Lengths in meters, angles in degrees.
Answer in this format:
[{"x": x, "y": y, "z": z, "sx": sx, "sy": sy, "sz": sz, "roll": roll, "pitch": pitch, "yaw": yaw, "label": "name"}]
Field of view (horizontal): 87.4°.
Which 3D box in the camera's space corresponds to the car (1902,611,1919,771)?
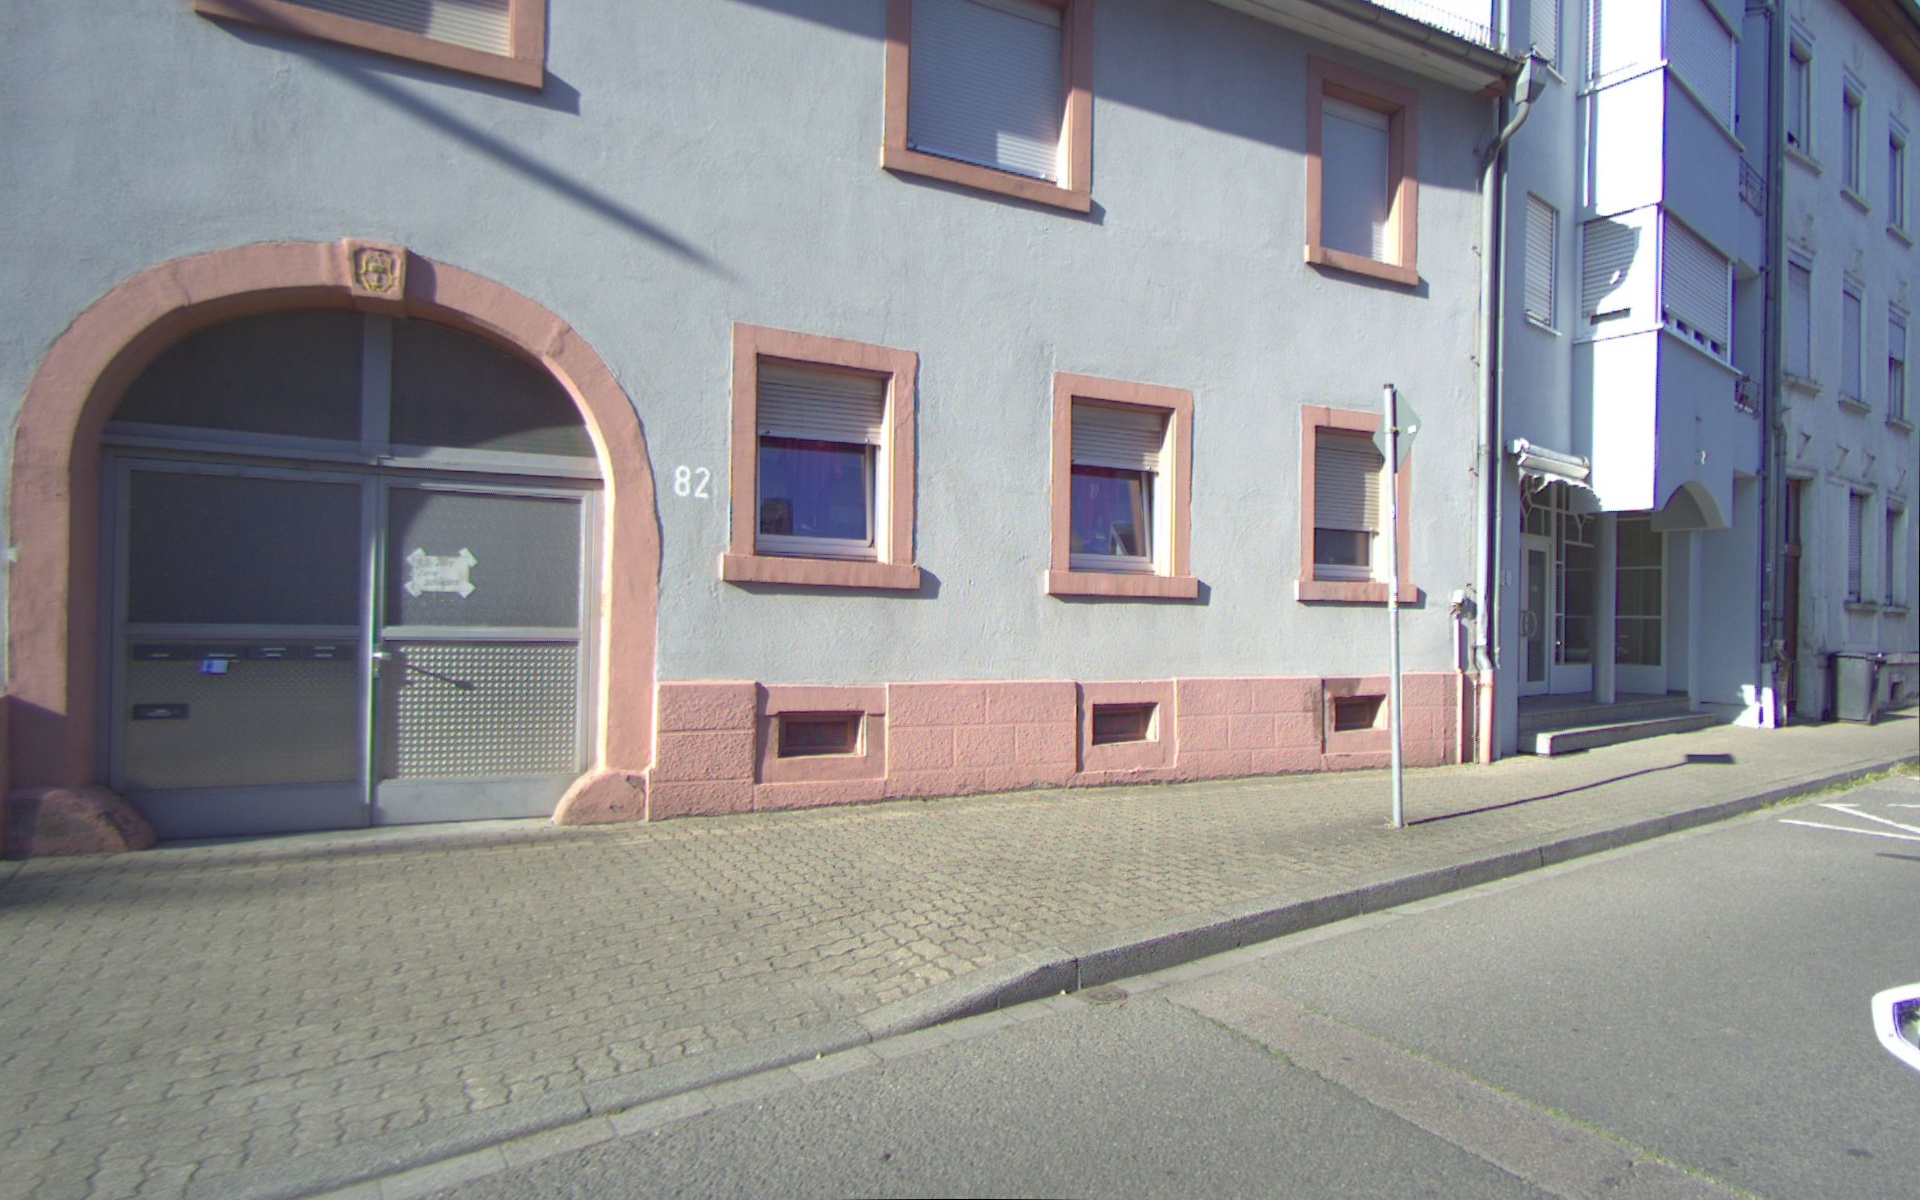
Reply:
[{"x": 12.625, "y": 1.008, "z": 11.407, "sx": 5.173, "sy": 1.670, "sz": 1.979, "roll": 1, "pitch": -1, "yaw": -37, "label": "car"}]
